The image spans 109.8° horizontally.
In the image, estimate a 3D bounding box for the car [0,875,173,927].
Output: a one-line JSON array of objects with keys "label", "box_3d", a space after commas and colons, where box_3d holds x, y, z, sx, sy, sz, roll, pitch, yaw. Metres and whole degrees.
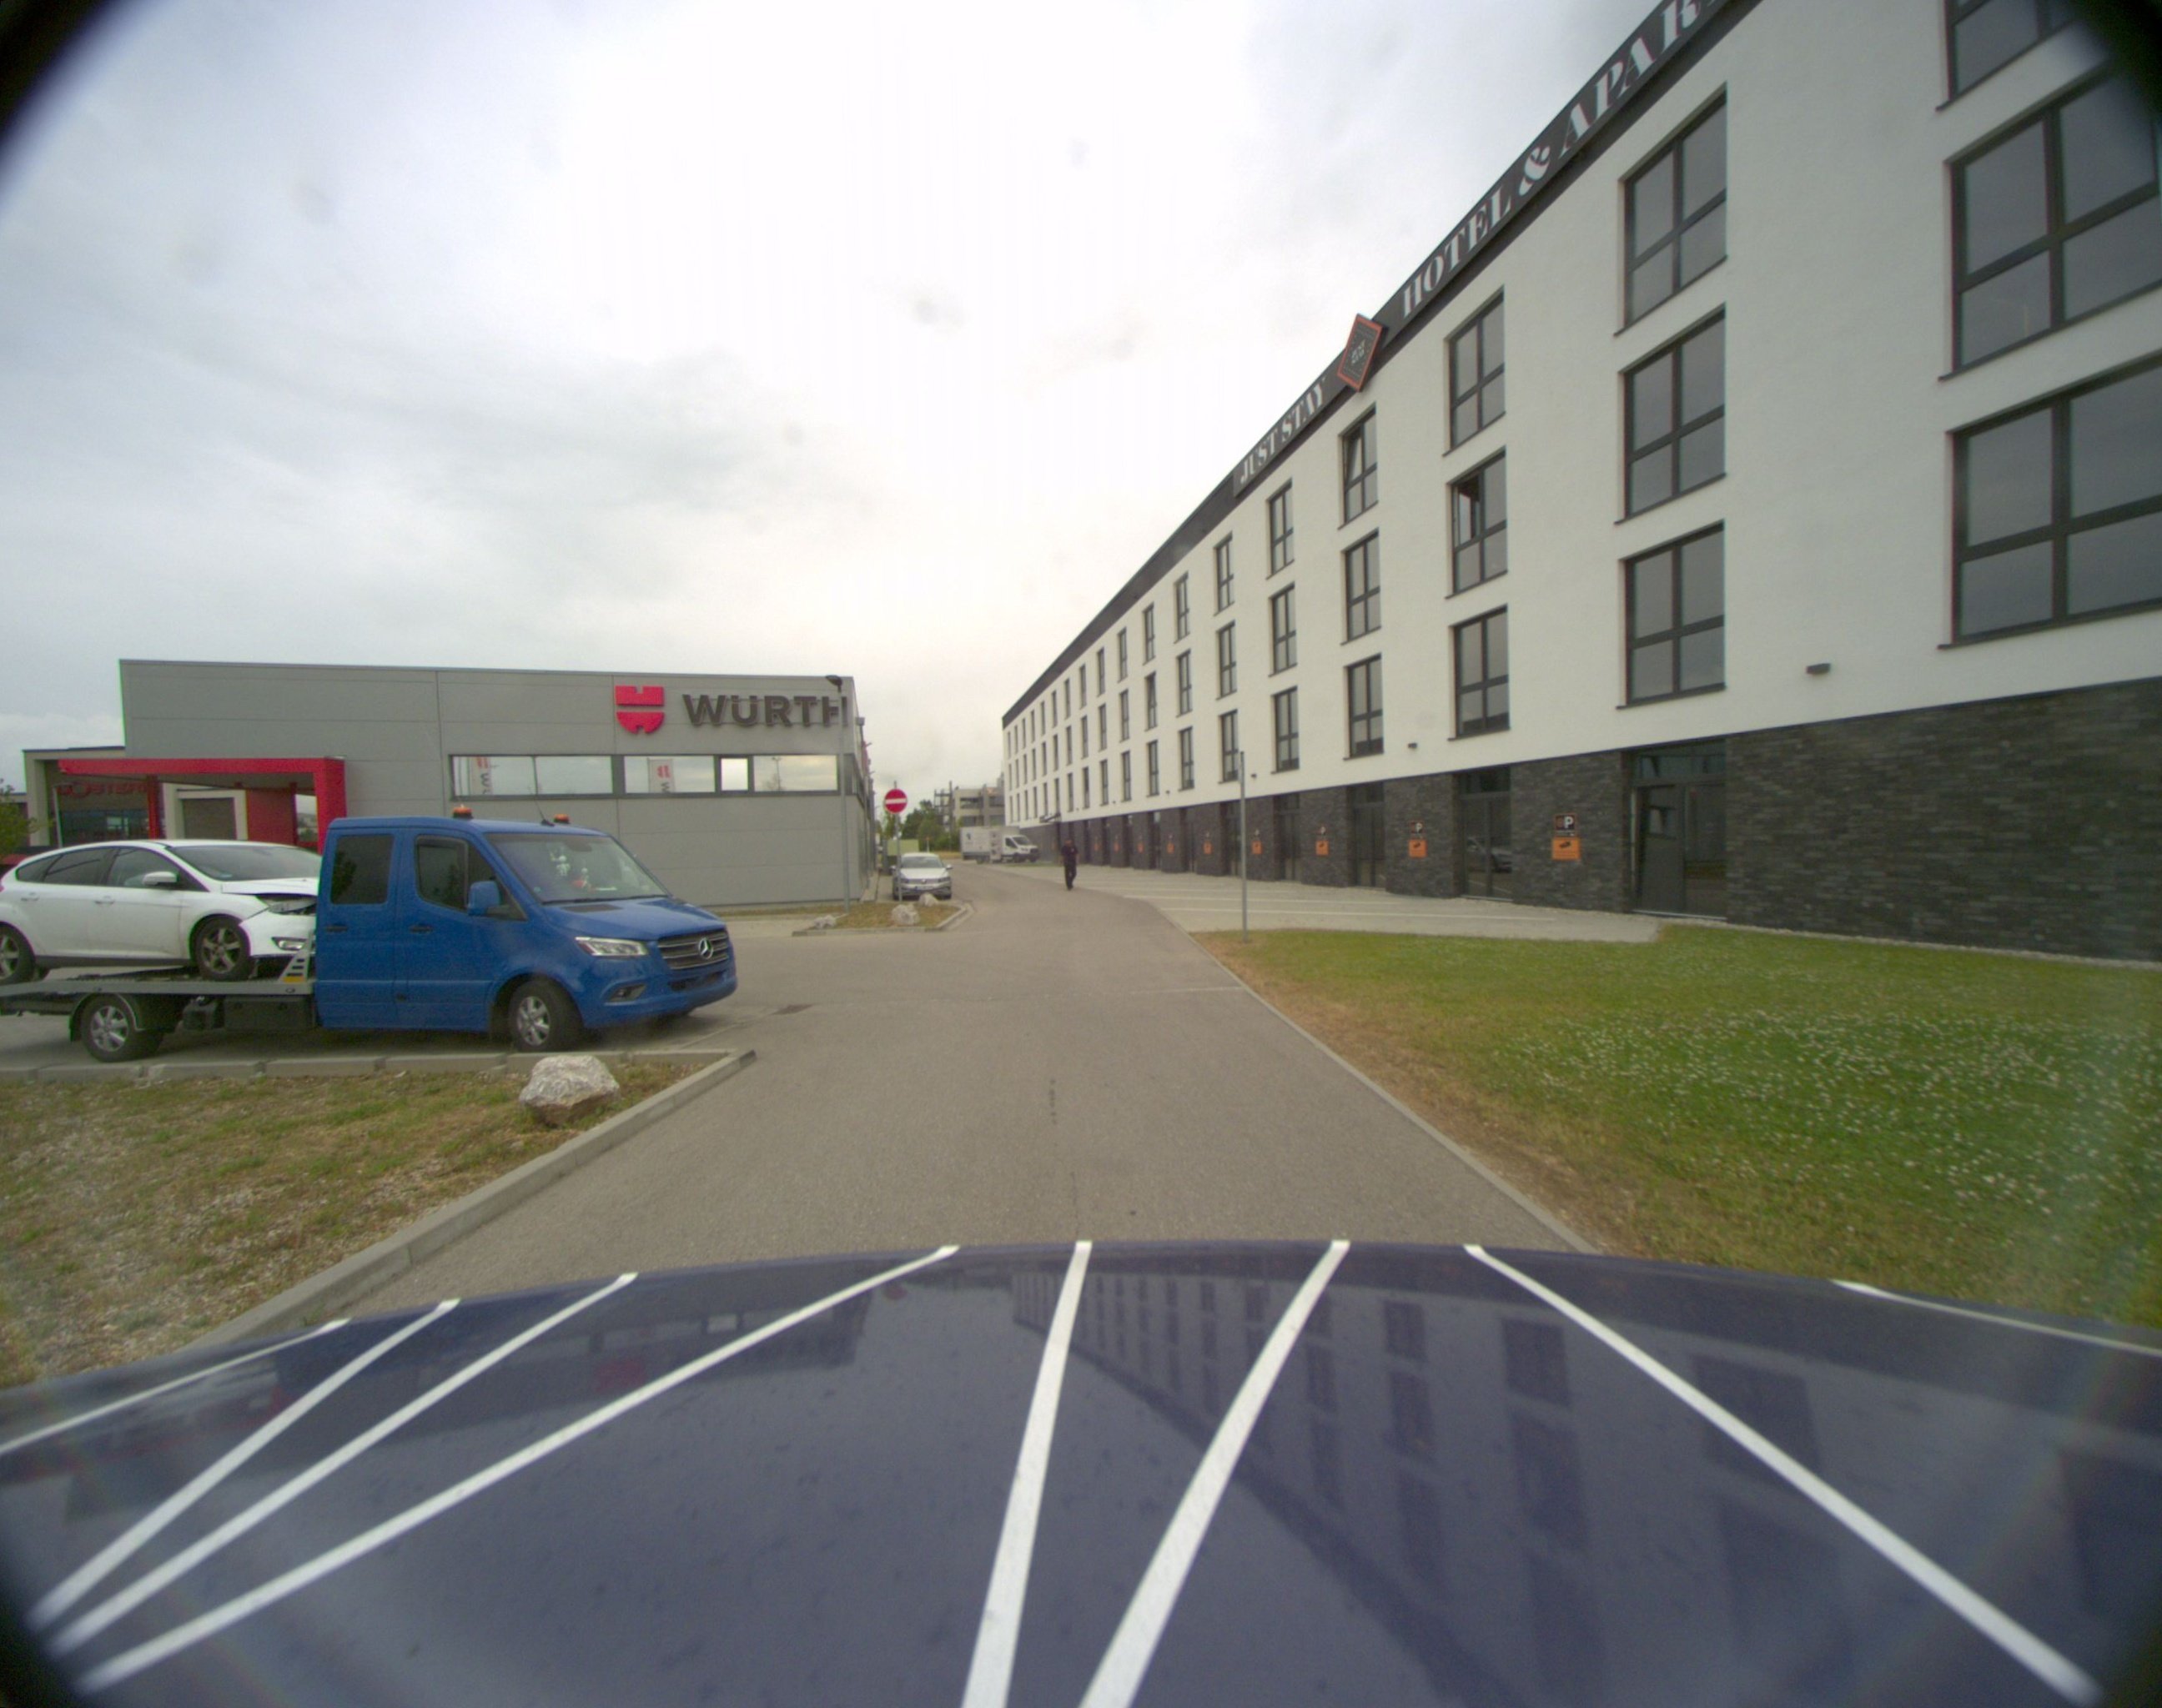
[{"label": "car", "box_3d": [-40.779, 1.881, 30.916, 4.743, 1.739, 1.756, -3, 2, -12]}]

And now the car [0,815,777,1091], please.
[{"label": "car", "box_3d": [-7.486, 0.897, 7.984, 7.845, 2.310, 2.202, -2, 2, 9]}]

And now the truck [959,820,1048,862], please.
[{"label": "truck", "box_3d": [-6.151, -0.992, 59.763, 7.049, 3.000, 2.441, -1, 3, 37]}]

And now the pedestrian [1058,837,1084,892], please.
[{"label": "pedestrian", "box_3d": [-0.331, 0.344, 25.696, 0.710, 1.812, 0.812, -2, 2, -8]}]

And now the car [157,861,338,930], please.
[{"label": "car", "box_3d": [-27.981, 1.351, 25.641, 3.677, 1.968, 1.674, -3, 3, -13]}]

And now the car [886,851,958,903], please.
[{"label": "car", "box_3d": [-5.241, 0.698, 25.620, 1.981, 1.483, 4.766, 0, 1, -7]}]
